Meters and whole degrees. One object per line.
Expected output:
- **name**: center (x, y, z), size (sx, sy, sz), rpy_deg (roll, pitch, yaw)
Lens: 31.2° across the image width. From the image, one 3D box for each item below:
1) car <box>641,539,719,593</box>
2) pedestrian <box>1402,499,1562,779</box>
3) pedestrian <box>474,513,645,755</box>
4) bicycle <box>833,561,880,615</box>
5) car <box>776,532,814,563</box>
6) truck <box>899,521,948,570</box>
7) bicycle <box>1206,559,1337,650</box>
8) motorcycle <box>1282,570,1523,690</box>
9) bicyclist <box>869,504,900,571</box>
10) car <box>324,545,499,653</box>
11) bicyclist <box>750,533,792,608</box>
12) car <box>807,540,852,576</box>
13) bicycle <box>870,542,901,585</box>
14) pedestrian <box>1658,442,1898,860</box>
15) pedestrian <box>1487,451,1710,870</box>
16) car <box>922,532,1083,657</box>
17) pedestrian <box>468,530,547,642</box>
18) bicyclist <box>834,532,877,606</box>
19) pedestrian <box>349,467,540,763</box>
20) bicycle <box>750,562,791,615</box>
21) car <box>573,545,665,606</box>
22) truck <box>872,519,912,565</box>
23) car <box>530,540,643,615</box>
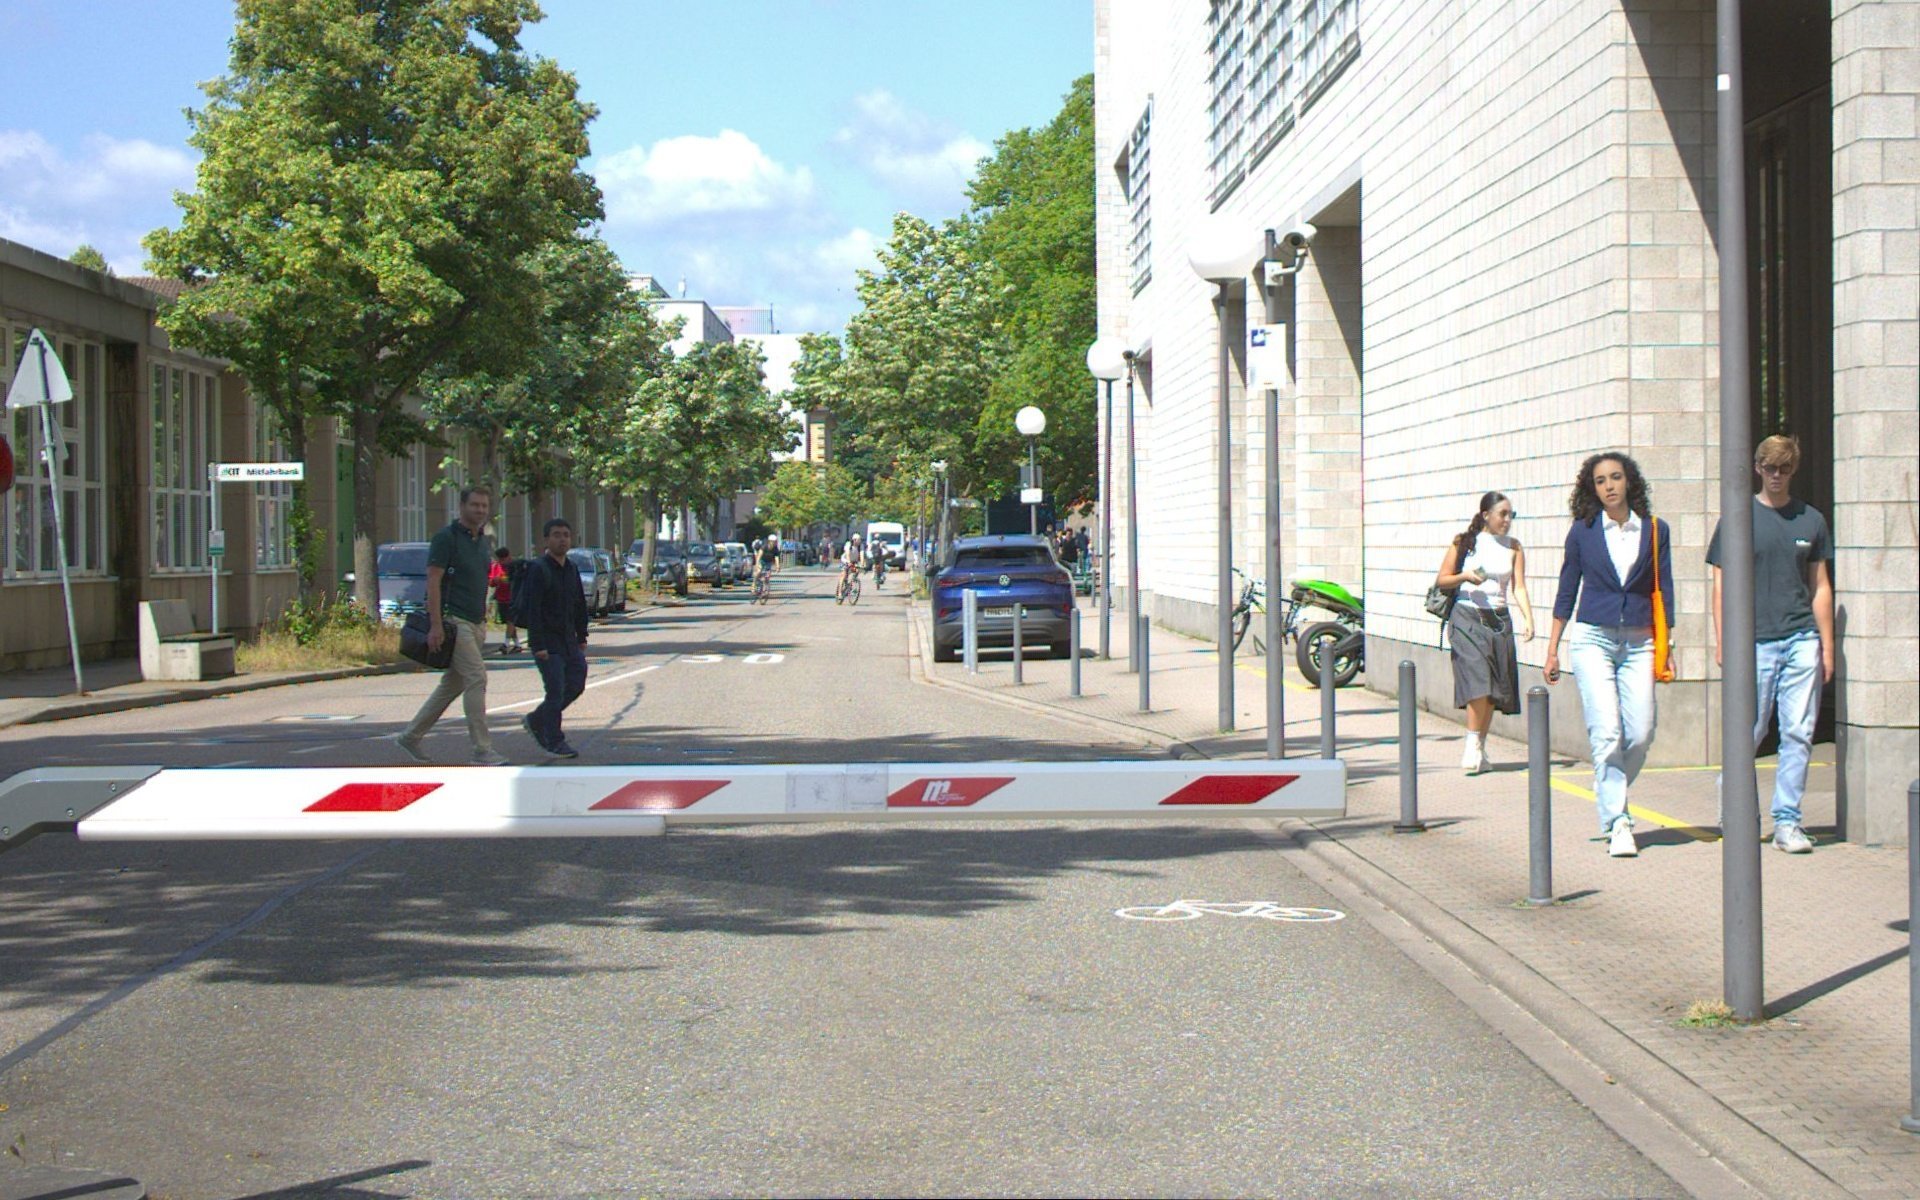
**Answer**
- **car**: center (-8.277, -1.033, 102.012), size (1.993, 1.540, 4.212), rpy_deg (0, 1, 0)
- **pedestrian**: center (3.135, 0.217, 20.717), size (0.741, 1.627, 0.888), rpy_deg (-2, 1, -2)
- **pedestrian**: center (-2.765, 0.227, 23.727), size (0.894, 1.627, 0.887), rpy_deg (0, 0, -30)
- **bicycle**: center (-2.650, -0.287, 87.544), size (0.987, 1.311, 2.964), rpy_deg (-1, -1, -6)
- **car**: center (-9.899, -3.118, 206.462), size (1.993, 1.714, 4.000), rpy_deg (-1, -1, 2)
- **truck**: center (-1.587, -2.349, 149.443), size (1.993, 2.007, 4.000), rpy_deg (-1, -1, -2)
- **bicycle**: center (3.787, 0.052, 41.716), size (1.544, 1.063, 0.647), rpy_deg (-1, 1, 7)
- **motorcycle**: center (4.118, 0.283, 32.069), size (2.123, 1.019, 0.660), rpy_deg (-2, -1, 1)
- **bicyclist**: center (-2.443, -2.016, 111.066), size (0.987, 2.125, 1.036), rpy_deg (-1, -1, -1)
- **car**: center (-8.212, -0.044, 51.823), size (1.993, 1.540, 4.212), rpy_deg (0, 1, 0)
- **bicyclist**: center (-4.827, -0.754, 87.793), size (0.987, 1.877, 1.036), rpy_deg (-1, -1, 0)
- **car**: center (-6.635, -2.122, 175.531), size (1.993, 1.714, 4.000), rpy_deg (-1, -1, 2)
- **bicycle**: center (-2.413, -1.157, 110.986), size (0.987, 1.311, 2.964), rpy_deg (-1, -1, -1)
- **pedestrian**: center (3.619, 0.209, 15.265), size (0.767, 1.774, 0.911), rpy_deg (-2, 1, -2)
- **pedestrian**: center (2.826, 0.248, 15.310), size (0.694, 1.774, 1.086), rpy_deg (-2, 1, -2)
- **car**: center (0.513, -0.108, 44.700), size (1.993, 1.540, 4.212), rpy_deg (0, 1, 0)
- **pedestrian**: center (-6.664, -0.204, 50.670), size (0.894, 1.627, 0.887), rpy_deg (0, 0, 14)
- **bicyclist**: center (-2.667, -0.786, 87.716), size (0.987, 1.877, 1.036), rpy_deg (-1, -1, -6)
- **pedestrian**: center (-3.440, 0.097, 22.921), size (1.003, 1.919, 0.887), rpy_deg (0, 0, -30)
- **bicycle**: center (-4.823, -0.281, 87.678), size (0.987, 1.311, 2.964), rpy_deg (-1, -1, -2)
- **car**: center (-8.862, -0.662, 89.614), size (1.993, 1.540, 4.212), rpy_deg (0, 1, 0)
- **truck**: center (-3.578, -3.028, 179.933), size (1.993, 2.263, 4.616), rpy_deg (-1, -1, -2)
- **car**: center (-7.998, -0.508, 73.877), size (1.993, 1.540, 4.212), rpy_deg (0, 1, 0)
